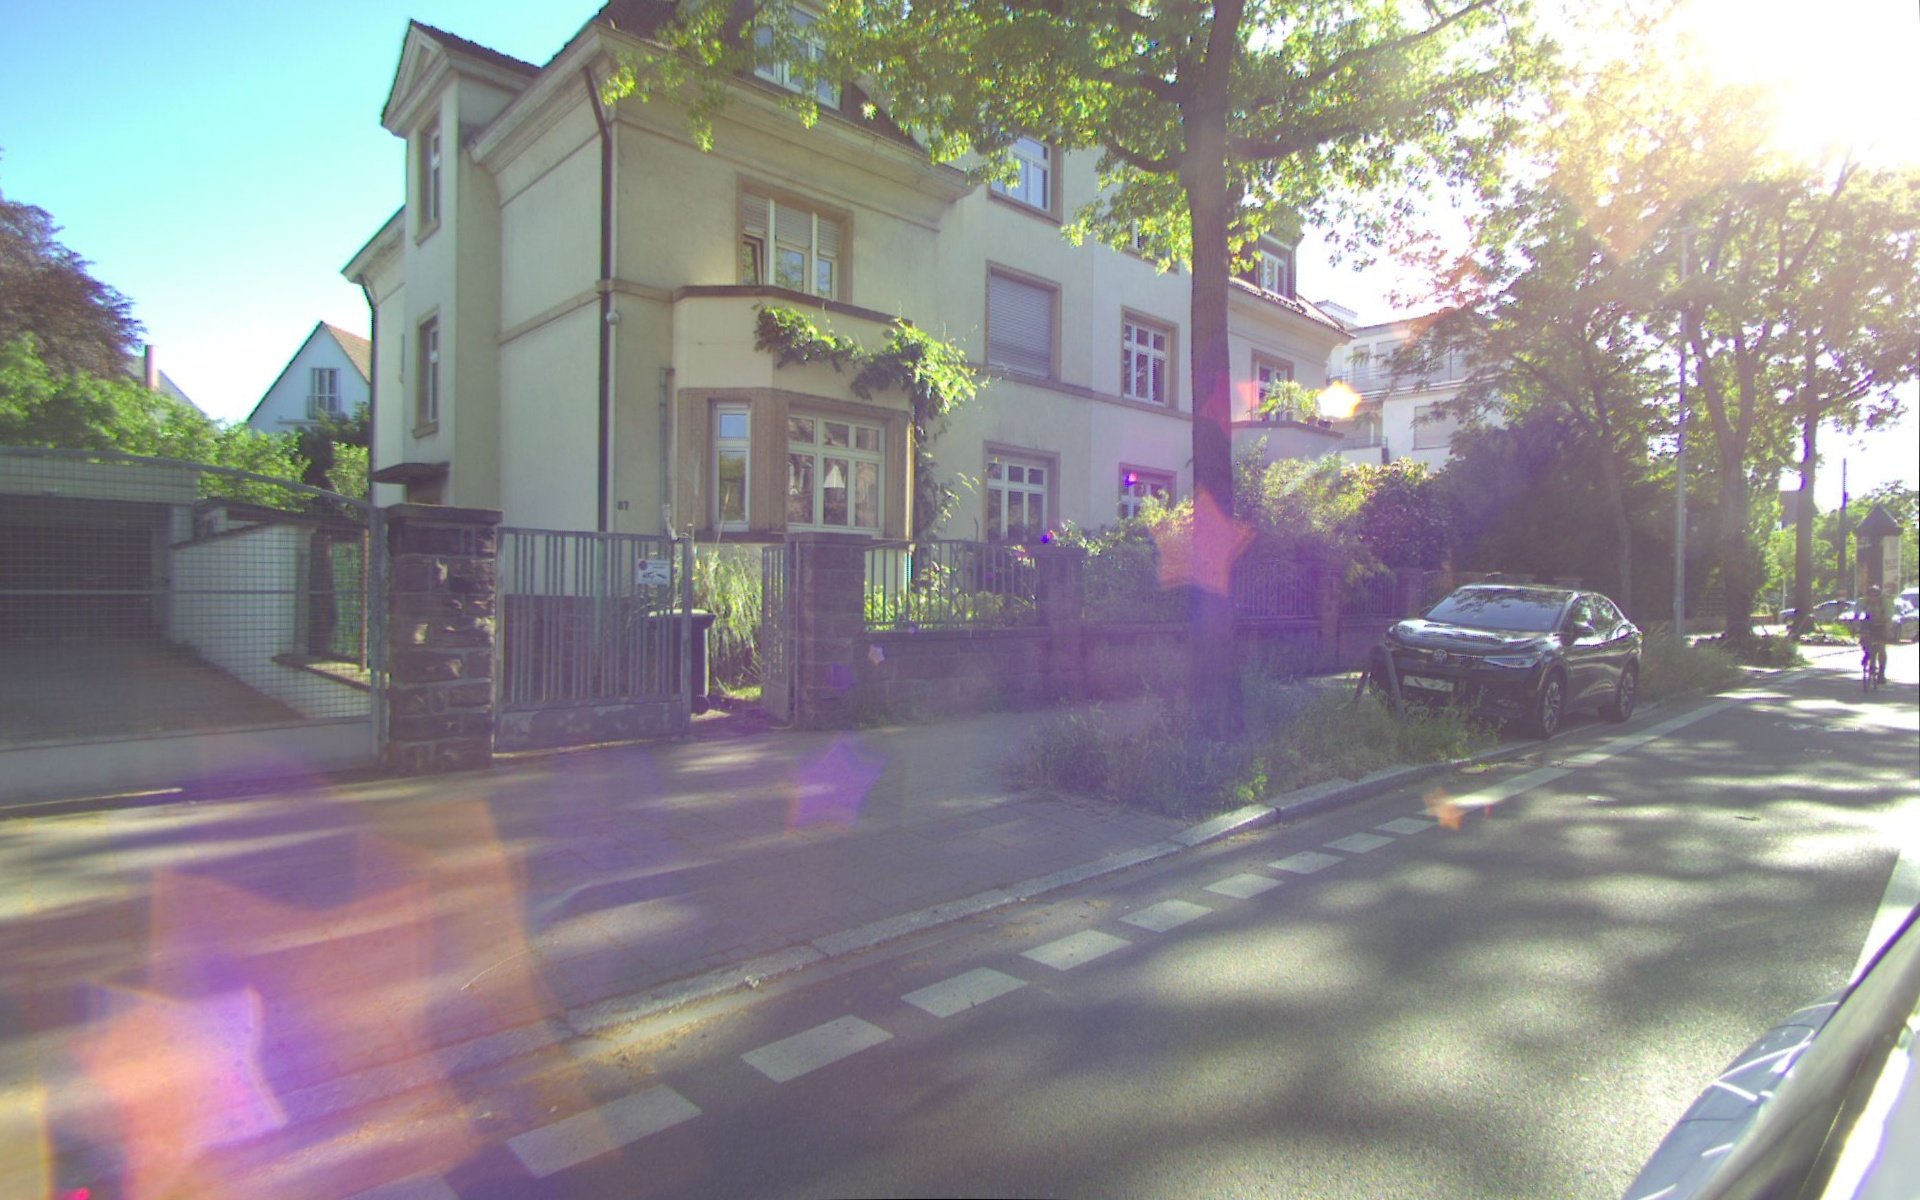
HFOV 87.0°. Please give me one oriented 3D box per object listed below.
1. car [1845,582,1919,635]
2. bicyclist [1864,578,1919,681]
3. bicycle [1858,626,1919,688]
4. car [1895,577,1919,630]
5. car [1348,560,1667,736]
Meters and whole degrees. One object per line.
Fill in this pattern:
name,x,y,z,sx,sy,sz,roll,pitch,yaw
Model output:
car,31.521,0.252,34.106,3.927,1.660,1.824,0,1,-38
bicyclist,15.624,0.471,16.913,0.732,1.679,0.677,0,0,-41
bicycle,15.646,0.926,16.938,1.852,0.937,0.677,0,1,-41
car,36.776,0.129,37.882,4.663,1.919,2.128,0,1,-41
car,6.710,0.480,12.205,4.304,1.695,1.997,1,2,-42
